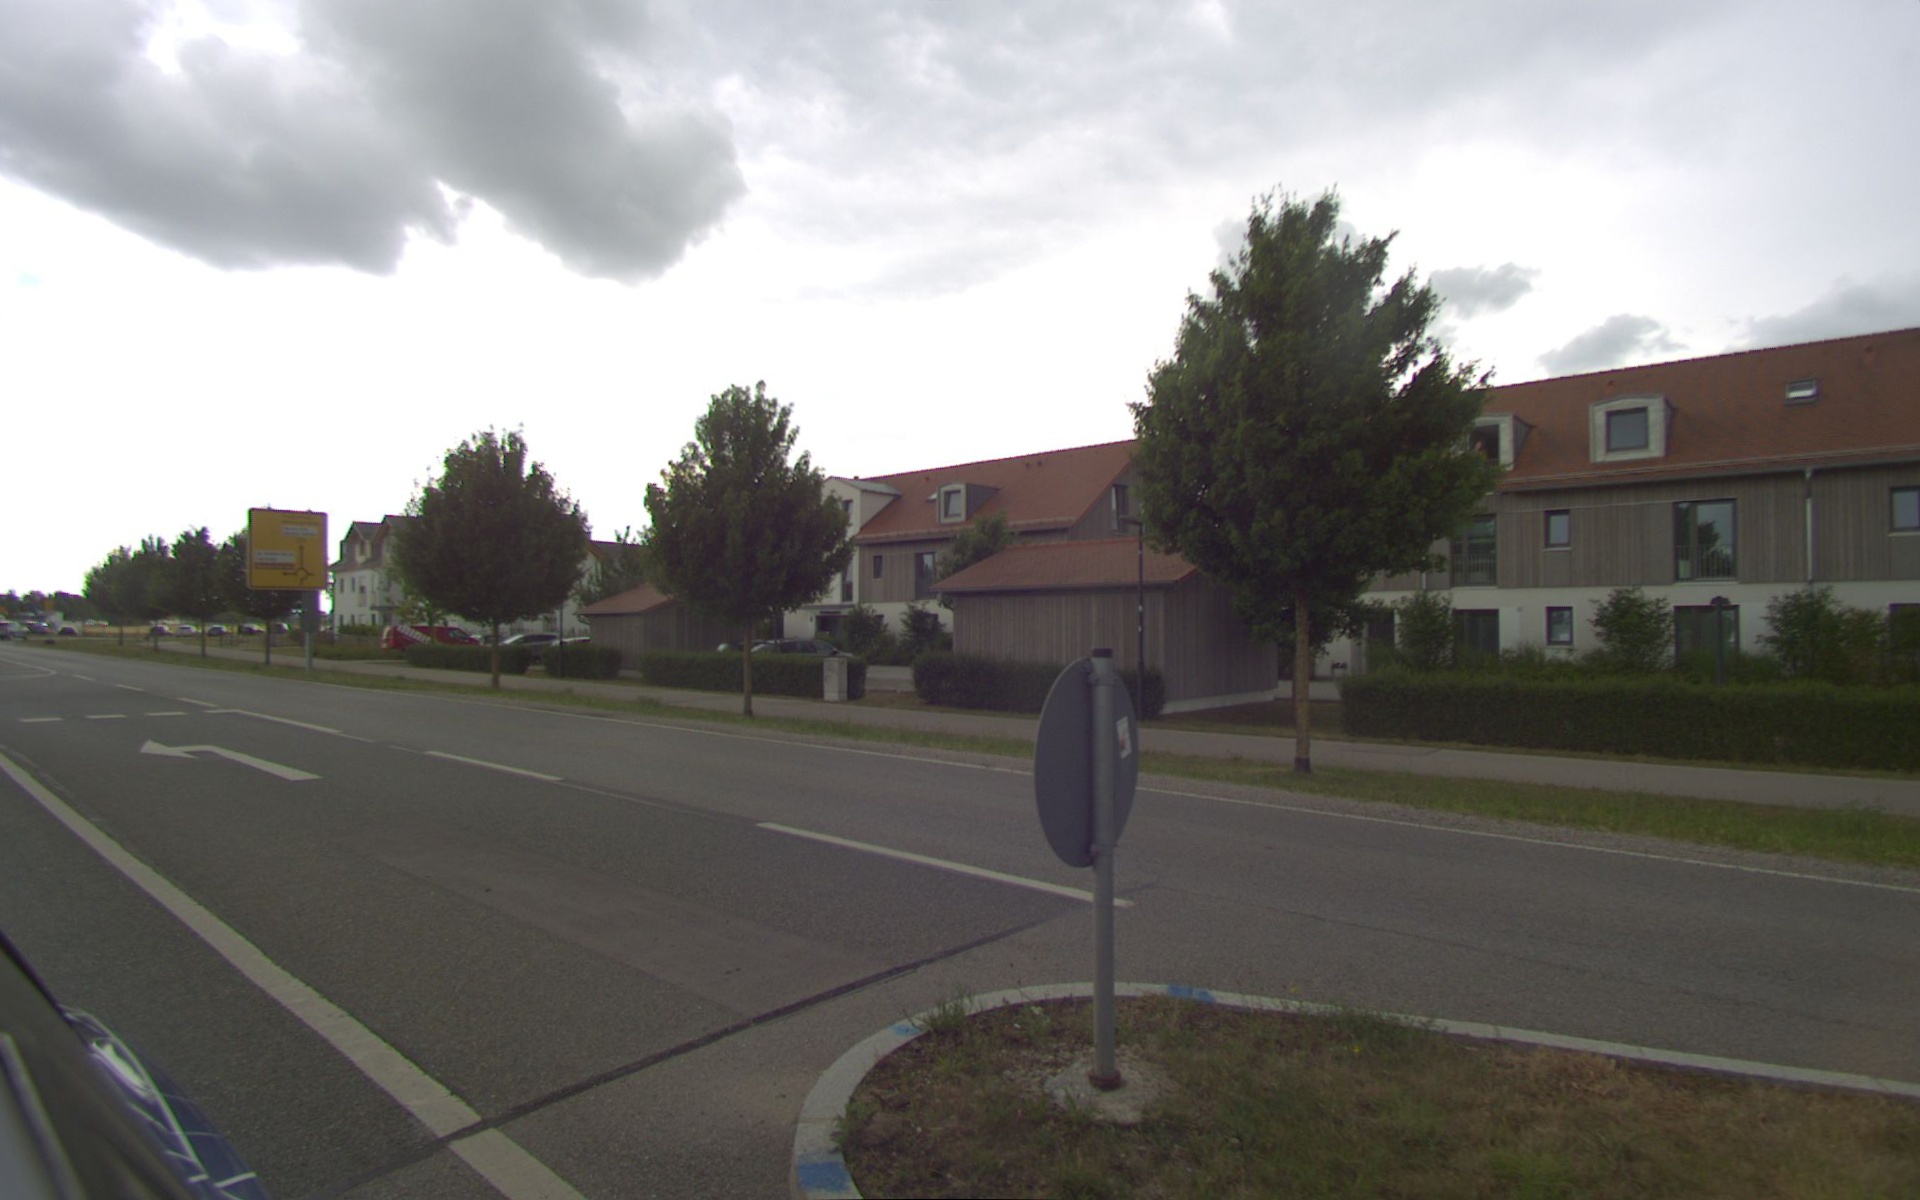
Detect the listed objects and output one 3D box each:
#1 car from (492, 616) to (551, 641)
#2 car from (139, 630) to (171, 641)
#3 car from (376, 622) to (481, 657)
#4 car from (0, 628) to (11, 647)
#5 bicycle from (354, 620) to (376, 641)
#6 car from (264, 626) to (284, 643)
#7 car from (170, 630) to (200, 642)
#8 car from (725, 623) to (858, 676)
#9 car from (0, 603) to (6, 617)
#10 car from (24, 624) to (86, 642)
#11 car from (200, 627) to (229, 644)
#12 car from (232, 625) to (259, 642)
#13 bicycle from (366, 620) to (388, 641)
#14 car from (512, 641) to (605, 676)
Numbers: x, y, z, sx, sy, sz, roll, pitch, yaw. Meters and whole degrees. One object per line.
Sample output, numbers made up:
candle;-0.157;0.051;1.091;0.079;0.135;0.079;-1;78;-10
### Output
car;-28.392;1.853;65.515;3.998;1.519;1.973;-2;-4;41
car;-95.675;4.252;120.335;1.965;1.298;4.013;2;-3;-24
car;-29.686;2.236;56.627;4.848;1.830;1.907;4;-4;-44
car;-73.926;2.855;77.206;3.998;1.455;1.752;-2;-4;41
bicycle;-41.862;2.139;71.207;2.093;1.428;0.675;-2;-4;41
car;-84.448;4.233;124.660;1.966;2.029;4.010;3;-4;-34
car;-92.861;4.354;121.357;1.965;1.298;4.013;2;-3;-24
car;-5.532;1.648;33.532;2.000;1.630;3.944;-2;-4;42
car;-108.494;1.092;113.534;3.998;1.455;1.752;-2;-4;41
car;-90.519;3.335;101.314;1.820;1.594;4.181;0;-4;24
car;-90.419;4.336;122.758;1.965;2.029;4.013;2;-3;-24
car;-87.275;4.112;123.654;1.965;2.029;4.013;2;-3;-24
bicycle;-41.355;2.146;71.777;2.093;1.439;0.675;-2;-4;41
car;-17.852;2.609;45.068;1.562;1.501;3.478;-2;-4;40
